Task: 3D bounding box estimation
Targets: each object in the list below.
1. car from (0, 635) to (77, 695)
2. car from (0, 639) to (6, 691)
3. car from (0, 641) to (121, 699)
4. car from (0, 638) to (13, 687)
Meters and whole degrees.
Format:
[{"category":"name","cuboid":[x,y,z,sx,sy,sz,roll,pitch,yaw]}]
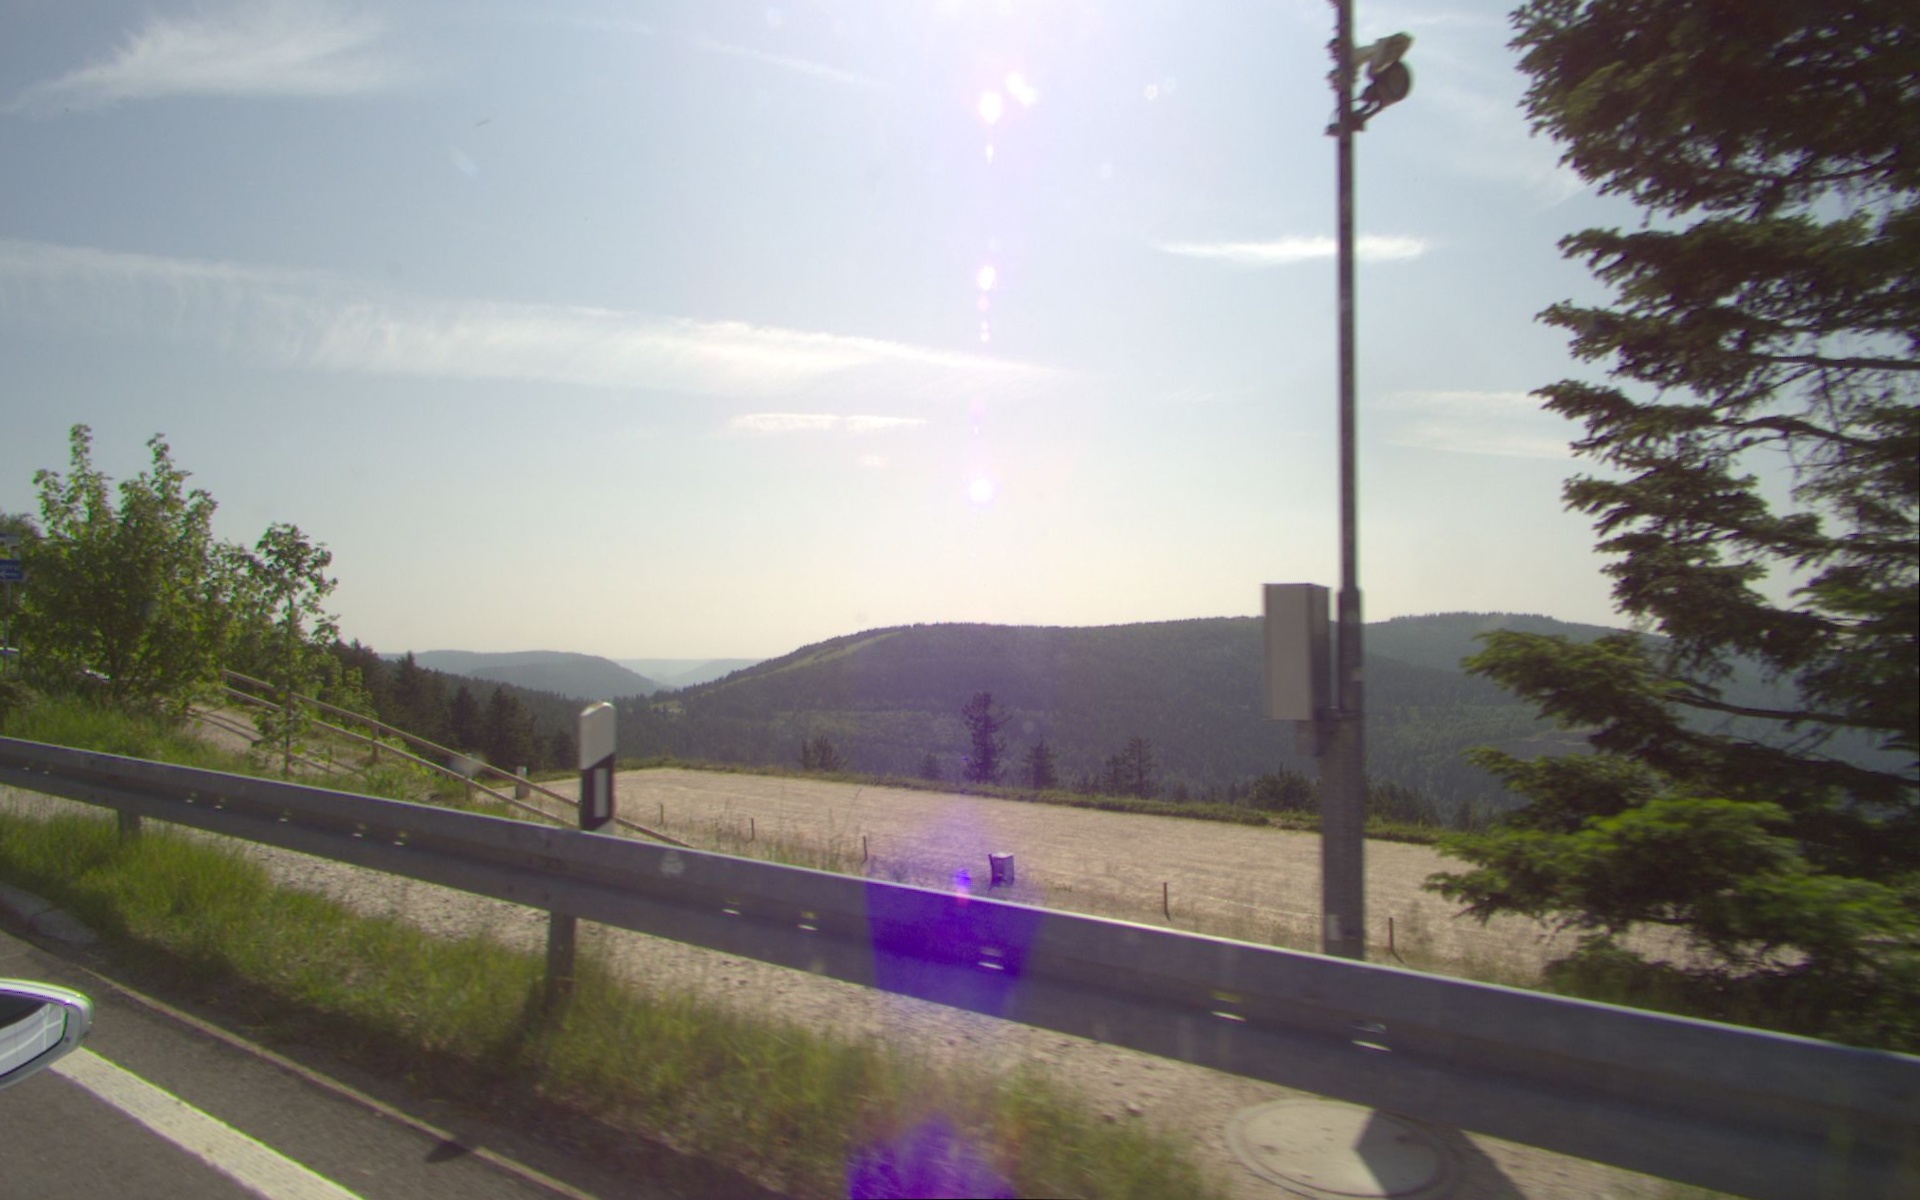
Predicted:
[{"category":"car","cuboid":[-26.528,1.676,26.440,1.874,1.587,4.409,0,-5,18]},{"category":"car","cuboid":[-29.534,1.744,27.792,1.810,1.527,3.997,0,-4,20]},{"category":"car","cuboid":[-23.936,1.762,25.204,1.628,1.402,3.998,0,-5,19]},{"category":"car","cuboid":[-31.621,1.834,30.544,1.623,1.513,3.581,0,-5,30]}]
